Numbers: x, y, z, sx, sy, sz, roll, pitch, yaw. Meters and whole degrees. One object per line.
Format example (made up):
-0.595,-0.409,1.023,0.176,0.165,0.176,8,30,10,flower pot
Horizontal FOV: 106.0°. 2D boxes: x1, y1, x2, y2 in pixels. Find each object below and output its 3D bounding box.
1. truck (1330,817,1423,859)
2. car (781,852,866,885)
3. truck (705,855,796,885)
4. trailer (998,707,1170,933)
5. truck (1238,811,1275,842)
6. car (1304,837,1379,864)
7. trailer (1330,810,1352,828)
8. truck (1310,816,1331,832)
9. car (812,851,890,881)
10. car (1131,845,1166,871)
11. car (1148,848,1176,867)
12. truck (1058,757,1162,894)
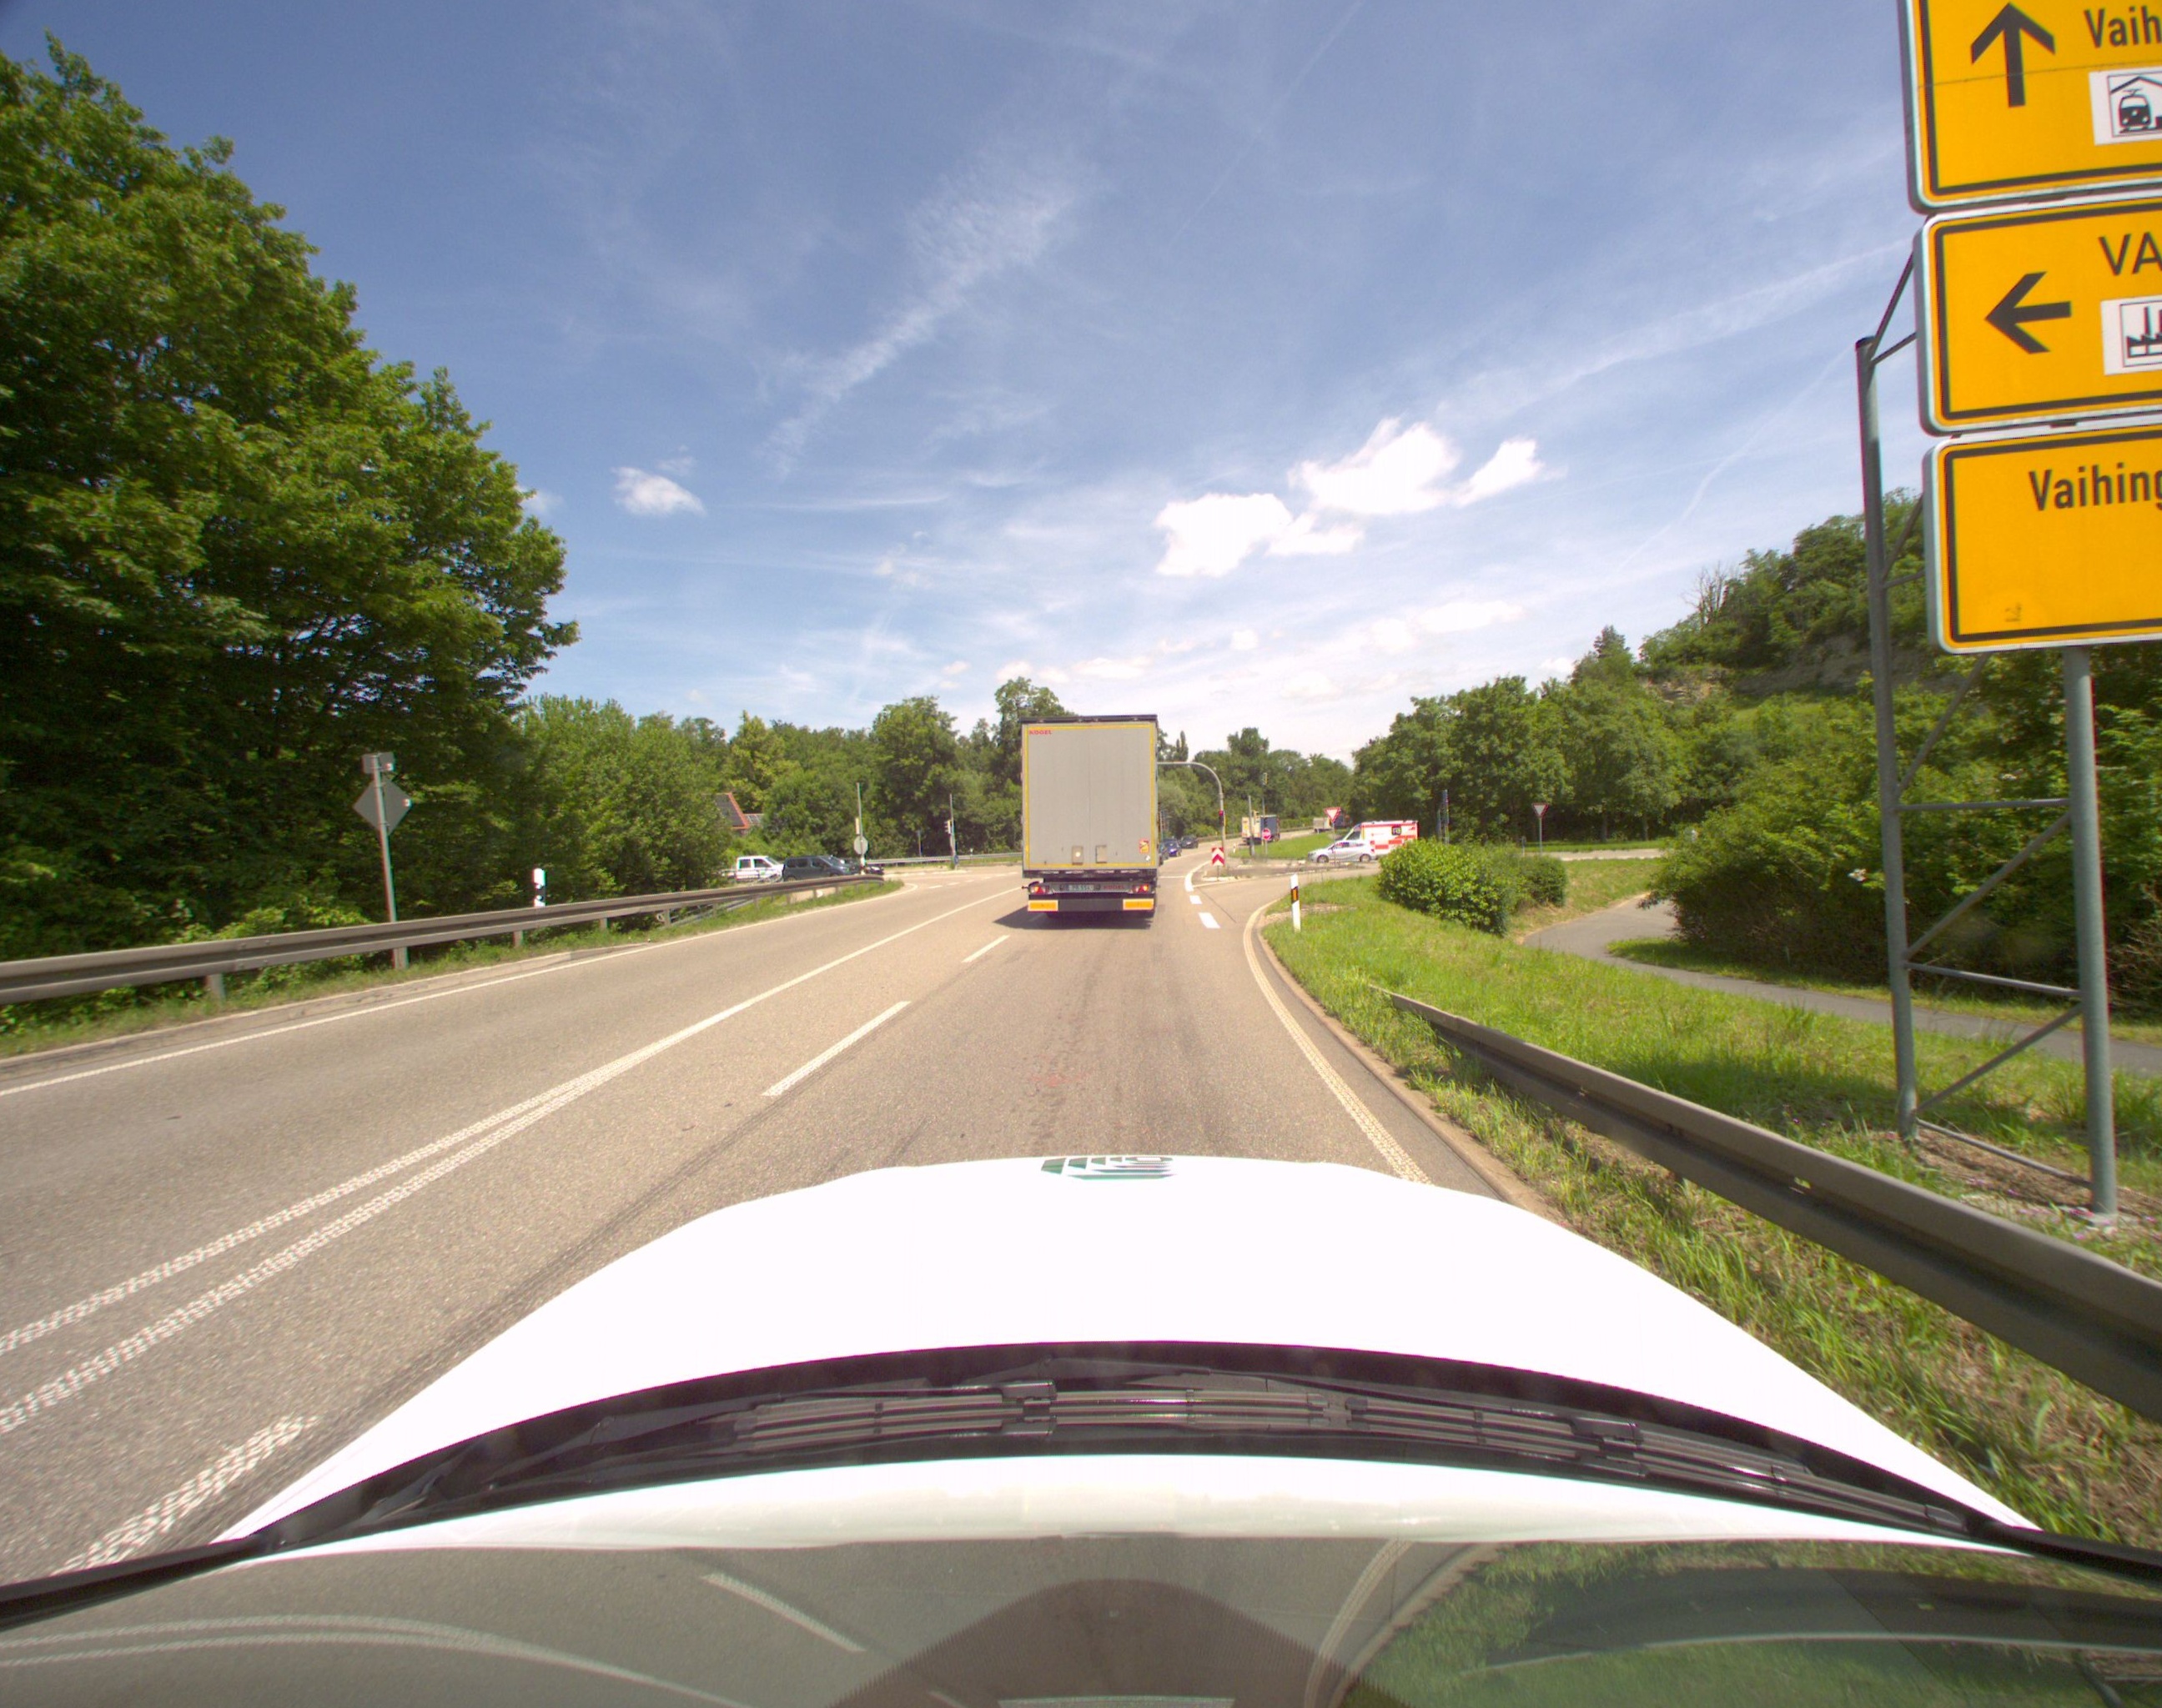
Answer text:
20.861,-1.071,57.476,5.957,2.728,2.515,-1,-2,23,truck
-14.981,0.822,47.434,4.204,1.770,2.007,-1,0,13,car
-20.636,1.001,51.010,4.874,1.791,2.037,0,-1,-9,truck
0.574,-0.748,21.047,3.037,4.033,12.577,-1,1,5,trailer
25.039,-3.855,115.677,3.151,4.028,11.809,-1,1,22,truck
16.994,-0.218,53.327,4.402,1.718,2.005,0,-1,8,car
55.793,-7.476,174.773,3.221,3.685,9.305,-1,0,26,trailer
47.309,-5.944,160.731,2.829,2.948,7.146,-1,0,25,truck
-14.531,0.737,51.552,4.204,1.770,2.007,-1,0,13,car
4.968,0.354,59.158,1.981,1.785,4.956,0,-1,11,car
6.643,0.326,66.587,1.981,1.491,4.269,0,-1,10,car
1.142,-0.916,27.682,3.024,4.033,6.639,-1,1,5,truck
